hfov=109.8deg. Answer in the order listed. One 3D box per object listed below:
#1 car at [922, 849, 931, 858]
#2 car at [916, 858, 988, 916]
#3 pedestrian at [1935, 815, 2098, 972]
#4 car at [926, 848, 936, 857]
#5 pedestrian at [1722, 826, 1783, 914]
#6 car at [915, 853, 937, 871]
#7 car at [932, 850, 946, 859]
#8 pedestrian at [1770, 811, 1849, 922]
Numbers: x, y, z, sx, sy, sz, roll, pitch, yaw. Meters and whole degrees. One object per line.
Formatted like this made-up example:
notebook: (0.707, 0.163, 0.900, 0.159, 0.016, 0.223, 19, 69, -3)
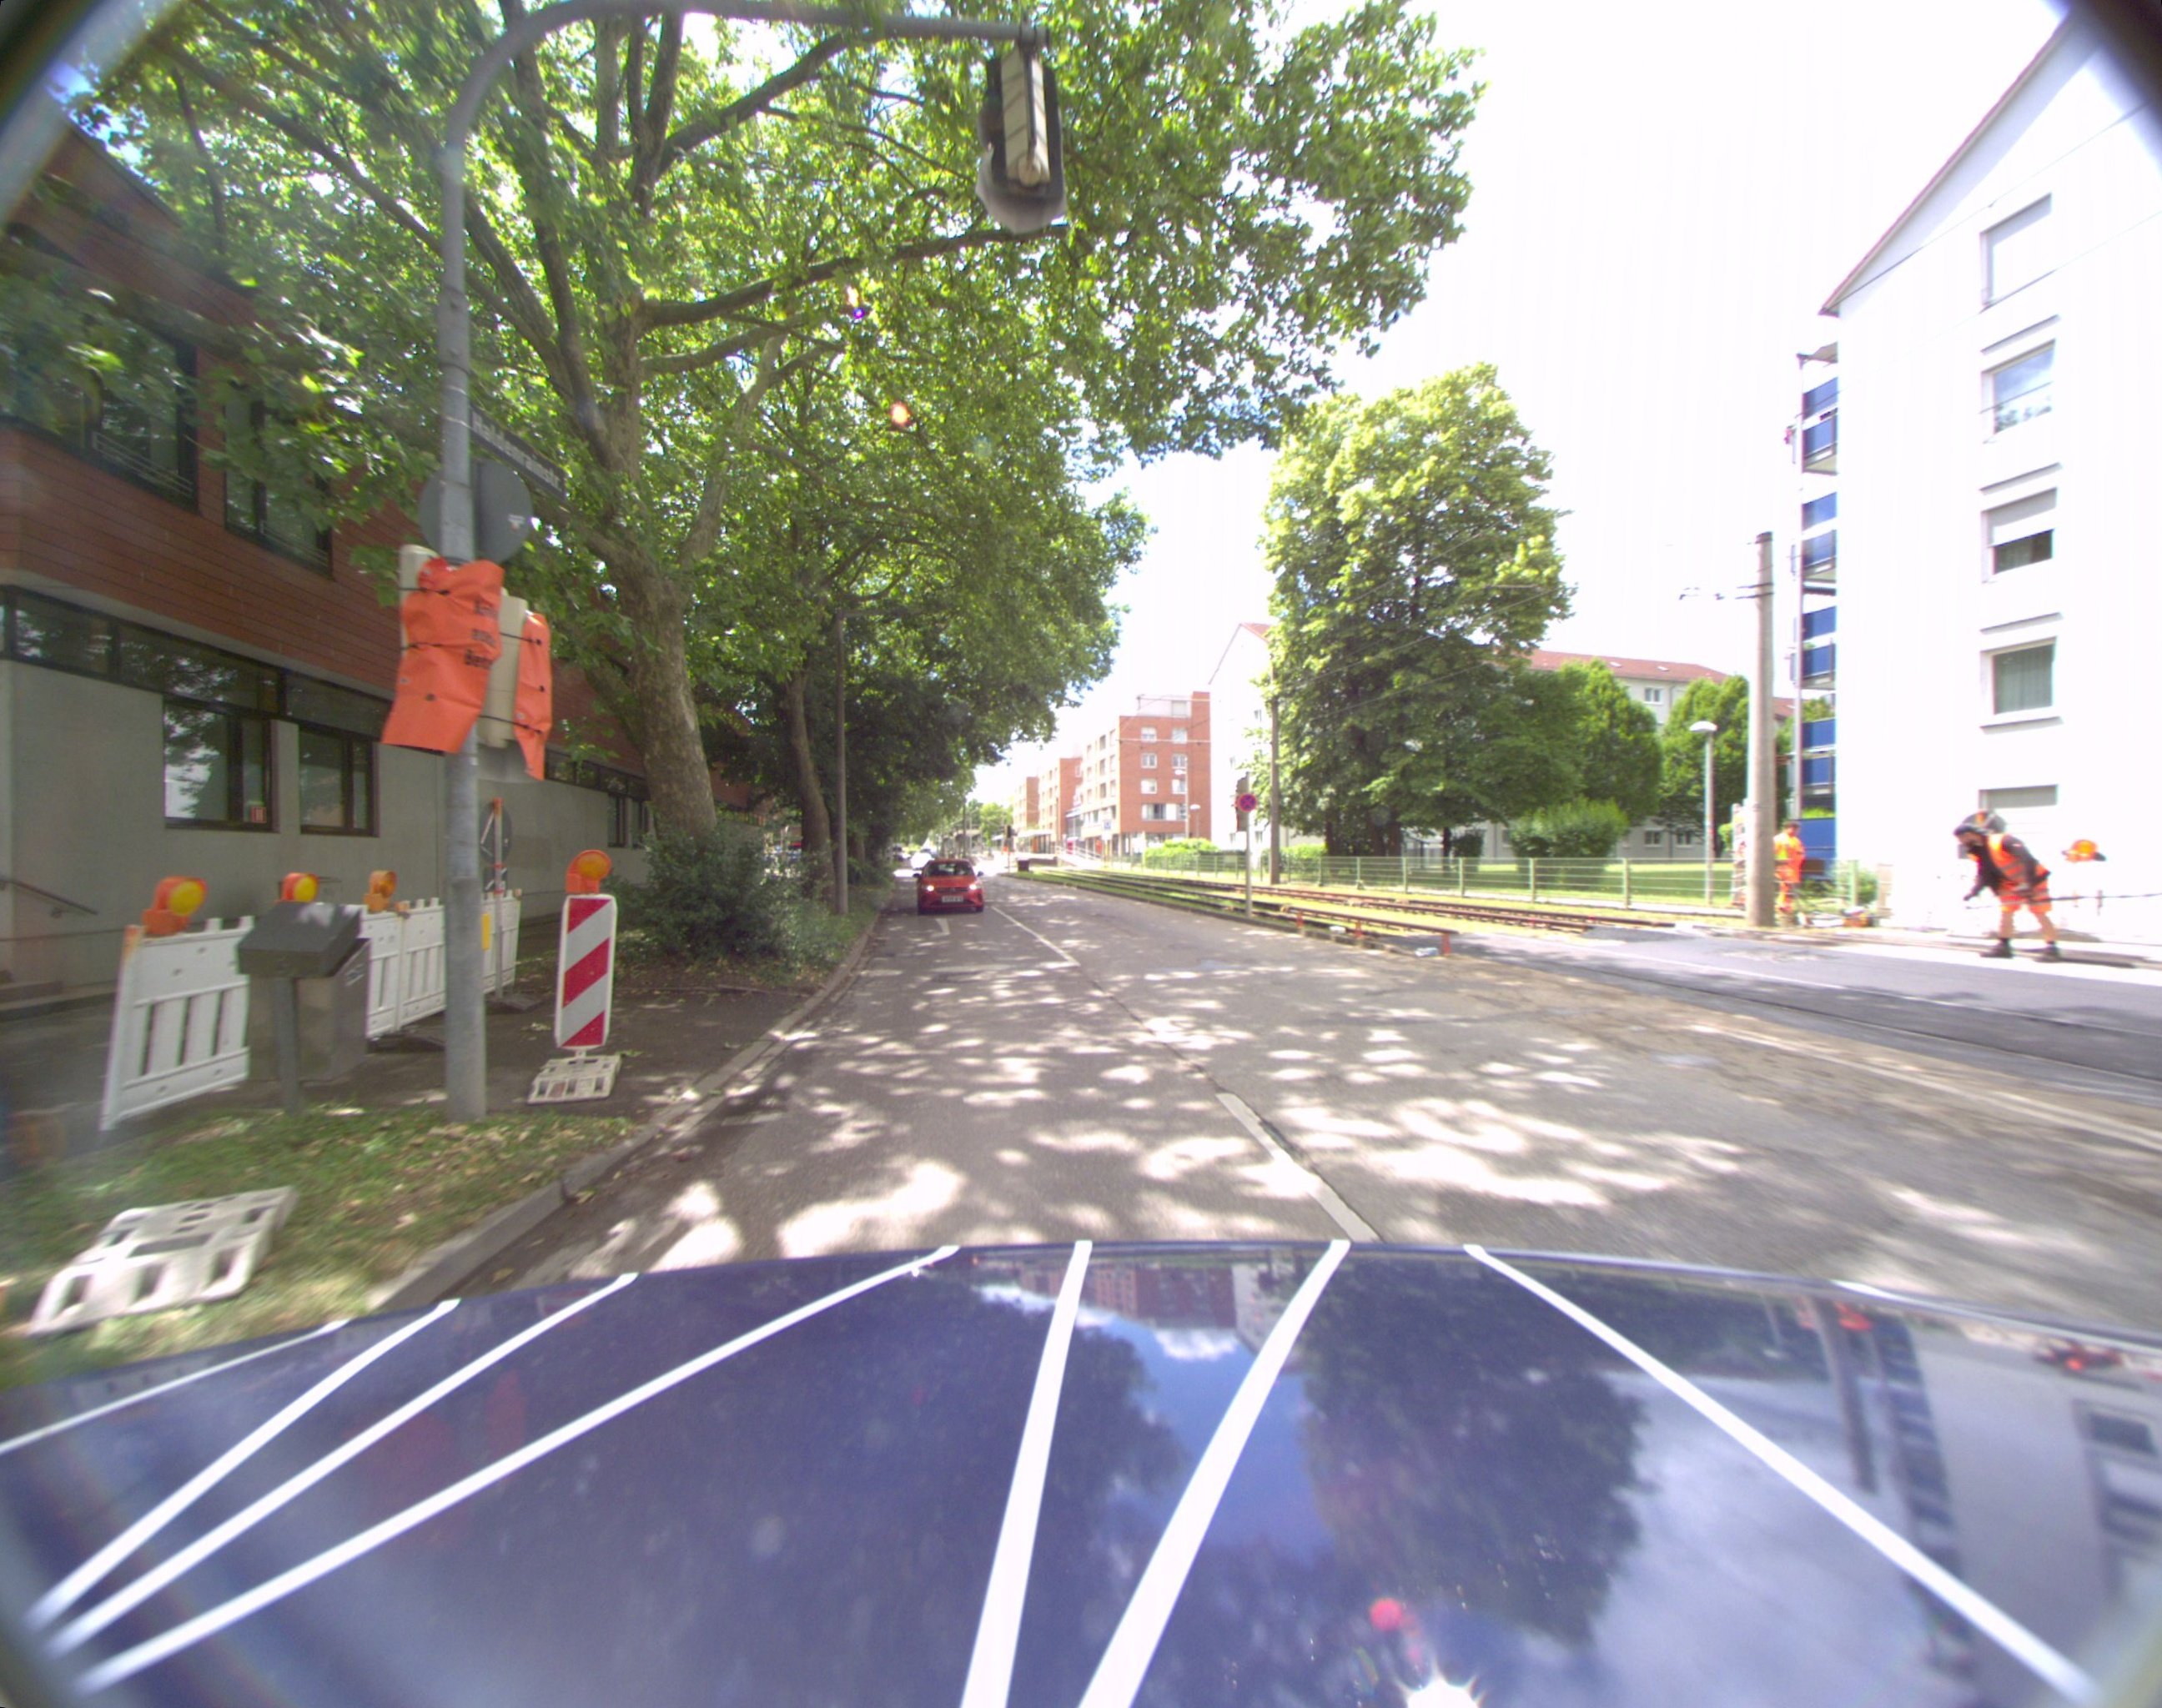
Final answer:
car: (-36.088, -0.170, 177.456, 2.001, 2.002, 3.995, -2, 1, -13)
car: (-3.679, 0.870, 21.317, 1.771, 1.425, 3.835, -2, 0, -12)
pedestrian: (10.825, 0.438, 8.823, 0.753, 1.706, 0.918, -1, 0, -7)
car: (-29.233, -0.306, 148.074, 2.000, 1.805, 3.996, 1, 0, -11)
pedestrian: (13.266, 0.305, 15.011, 0.878, 1.673, 0.668, 0, 1, 44)
car: (-12.985, 0.642, 63.721, 1.771, 1.405, 4.233, -1, 1, -11)
car: (-22.252, 0.056, 118.847, 2.001, 1.346, 3.767, 1, 0, -14)
pedestrian: (13.014, 0.209, 13.584, 0.668, 1.897, 0.878, -2, 1, -32)
